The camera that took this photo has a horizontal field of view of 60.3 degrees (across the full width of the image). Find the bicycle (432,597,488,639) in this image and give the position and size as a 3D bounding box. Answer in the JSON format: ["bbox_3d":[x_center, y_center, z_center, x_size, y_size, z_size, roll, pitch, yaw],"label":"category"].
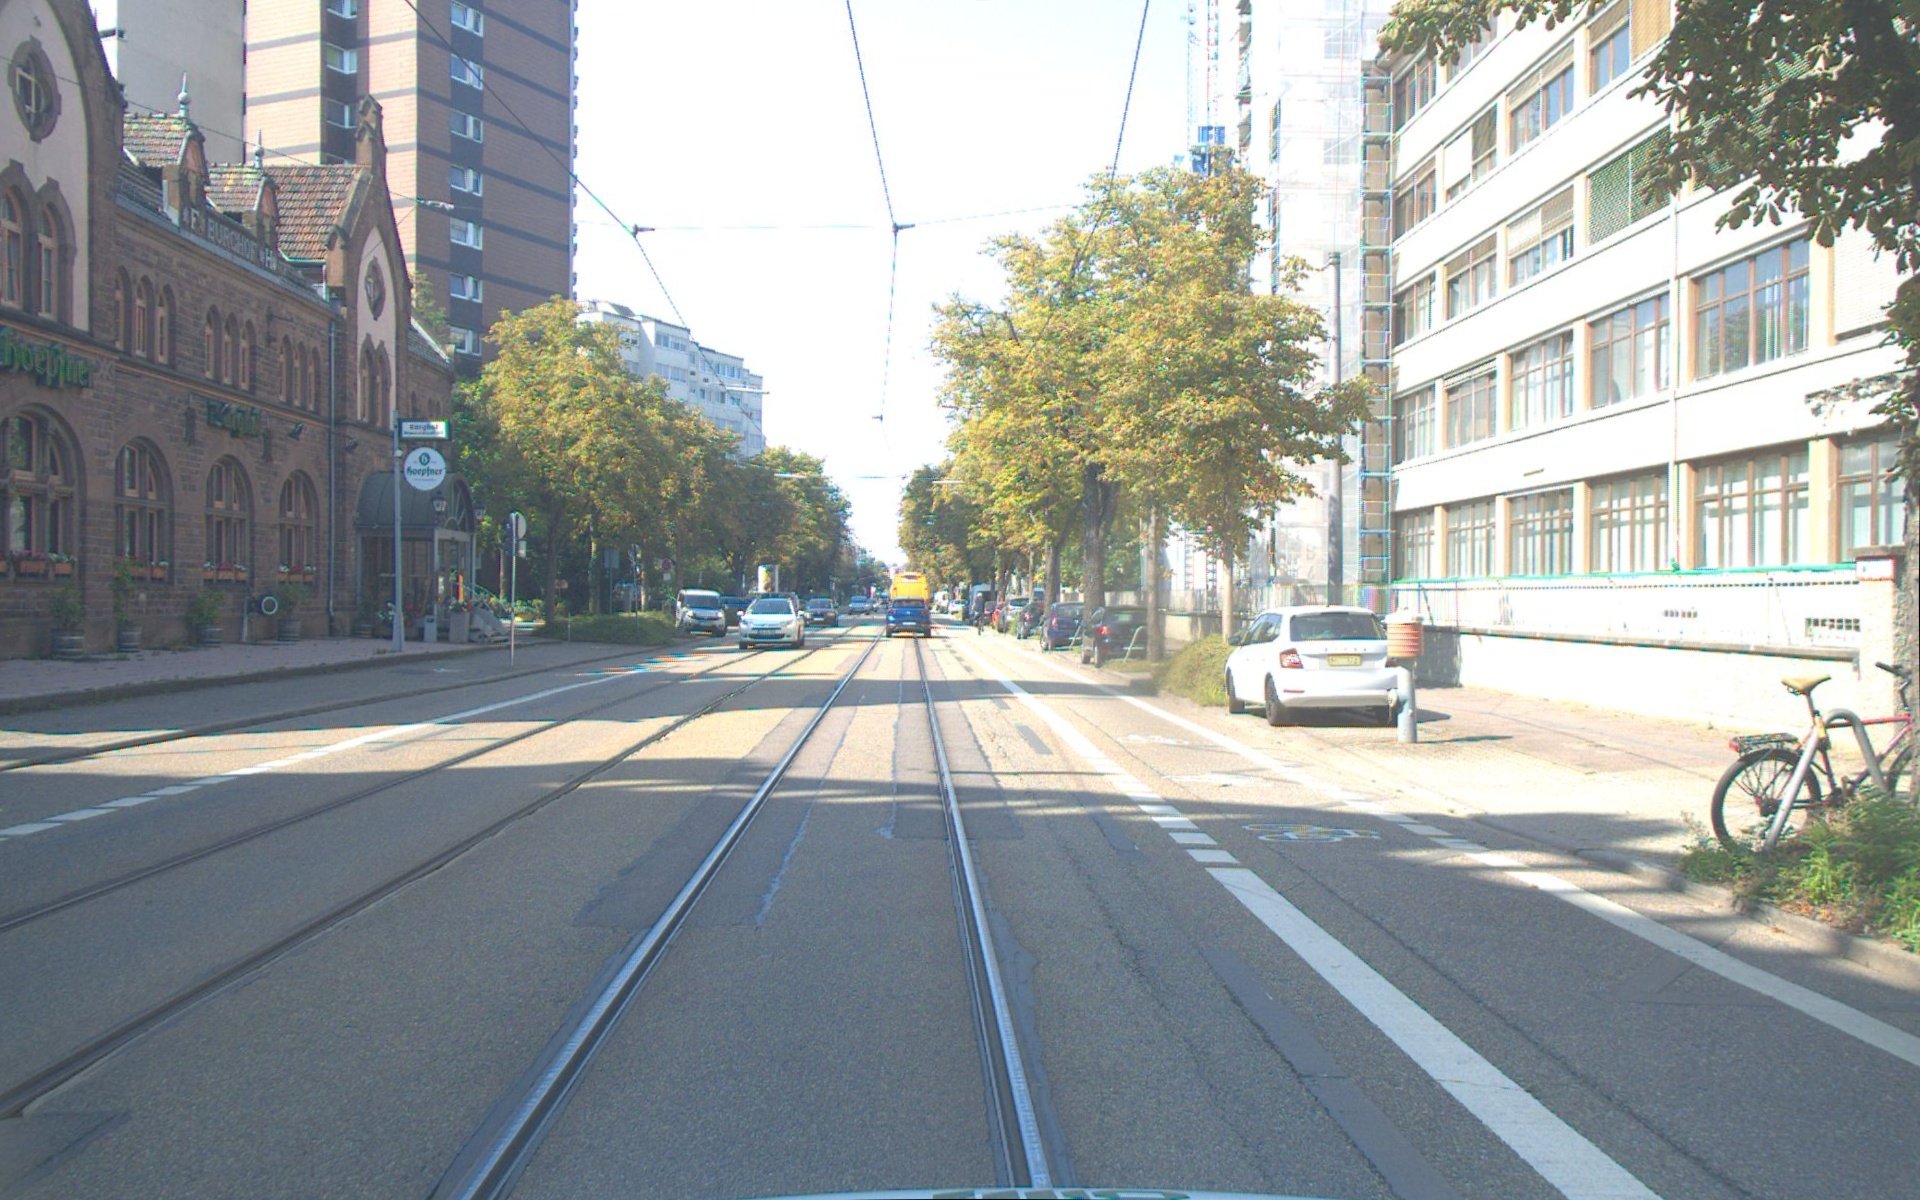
[{"bbox_3d":[-14.427,0.527,47.702,1.423,1.112,0.399,4,-1,-6],"label":"bicycle"}]

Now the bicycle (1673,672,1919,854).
[{"bbox_3d":[5.062,0.916,9.414,1.775,0.975,0.558,1,0,-2],"label":"bicycle"}]

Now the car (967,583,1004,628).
[{"bbox_3d":[1.617,0.337,106.318,1.954,2.804,5.758,1,0,-3],"label":"car"}]

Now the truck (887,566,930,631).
[{"bbox_3d":[-2.628,-0.077,84.260,2.092,3.179,6.082,0,0,-2],"label":"truck"}]

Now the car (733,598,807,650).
[{"bbox_3d":[-5.817,0.697,51.073,1.809,1.518,4.866,0,0,-1],"label":"car"}]

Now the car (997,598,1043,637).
[{"bbox_3d":[2.703,0.786,75.232,1.705,1.697,4.359,1,0,-3],"label":"car"}]

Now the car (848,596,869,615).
[{"bbox_3d":[-9.126,0.507,148.874,1.744,1.713,4.345,1,0,-3],"label":"car"}]

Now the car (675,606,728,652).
[{"bbox_3d":[-10.685,1.171,68.149,1.718,1.828,3.983,1,0,-16],"label":"car"}]

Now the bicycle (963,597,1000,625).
[{"bbox_3d":[0.901,0.468,70.662,1.373,1.154,3.998,0,0,-2],"label":"bicycle"}]

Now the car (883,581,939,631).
[{"bbox_3d":[-1.925,0.221,65.259,2.092,1.891,5.566,0,0,-2],"label":"car"}]

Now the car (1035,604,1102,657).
[{"bbox_3d":[3.374,0.924,52.056,1.707,1.583,4.215,0,0,-1],"label":"car"}]

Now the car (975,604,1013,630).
[{"bbox_3d":[1.944,0.952,95.731,1.870,1.457,4.290,1,0,-3],"label":"car"}]

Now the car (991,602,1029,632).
[{"bbox_3d":[2.569,0.885,85.611,1.705,1.488,3.682,1,0,-3],"label":"car"}]

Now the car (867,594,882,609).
[{"bbox_3d":[-9.535,0.151,184.258,1.601,1.612,4.186,1,0,-3],"label":"car"}]

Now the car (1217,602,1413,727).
[{"bbox_3d":[4.629,0.790,22.161,1.626,1.507,4.215,0,0,-1],"label":"car"}]

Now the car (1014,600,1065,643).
[{"bbox_3d":[3.095,0.837,65.149,1.601,1.612,4.186,1,0,-3],"label":"car"}]

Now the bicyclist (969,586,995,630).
[{"bbox_3d":[0.939,0.347,70.654,1.011,1.844,1.016,1,0,-2],"label":"bicyclist"}]

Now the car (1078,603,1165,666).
[{"bbox_3d":[3.909,0.812,40.523,1.626,1.432,4.215,0,0,-1],"label":"car"}]

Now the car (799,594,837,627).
[{"bbox_3d":[-7.228,0.528,84.265,1.647,1.599,4.205,1,0,-1],"label":"car"}]
